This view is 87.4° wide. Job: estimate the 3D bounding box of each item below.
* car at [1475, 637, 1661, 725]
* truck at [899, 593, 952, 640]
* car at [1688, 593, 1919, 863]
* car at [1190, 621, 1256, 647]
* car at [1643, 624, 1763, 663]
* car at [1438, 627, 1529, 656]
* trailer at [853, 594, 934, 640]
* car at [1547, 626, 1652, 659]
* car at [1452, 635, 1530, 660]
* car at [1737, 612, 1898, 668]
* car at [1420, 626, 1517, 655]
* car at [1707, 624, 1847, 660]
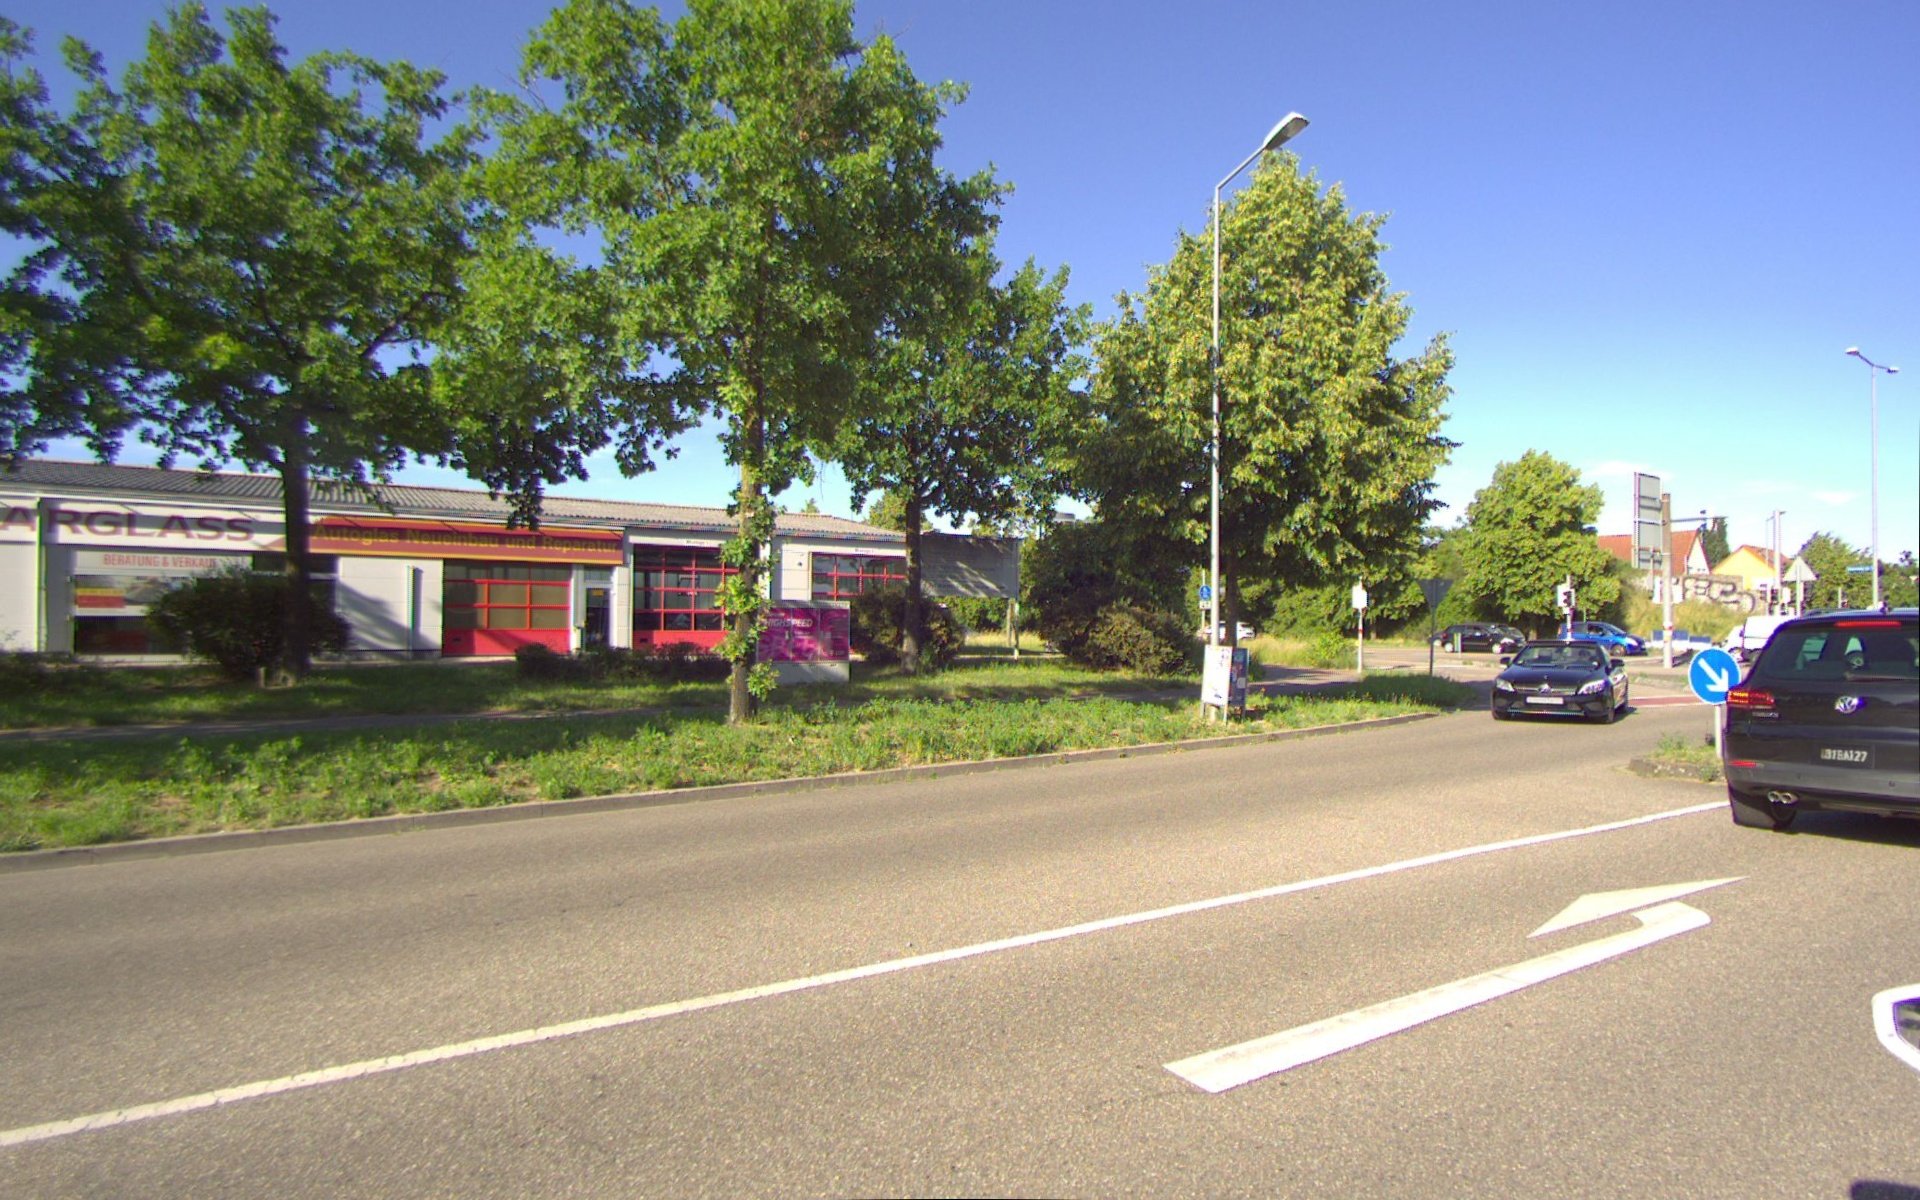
[{"bbox_3d":[11.316,1.425,18.551,1.973,1.421,4.561,-5,-5,43],"label":"car"},{"bbox_3d":[-2.856,1.362,81.688,2.383,3.744,4.778,1,-1,-30],"label":"truck"},{"bbox_3d":[7.562,0.882,7.659,3.956,1.695,1.813,2,-3,-30],"label":"car"},{"bbox_3d":[18.766,2.402,71.839,1.699,1.705,4.345,2,-1,-41],"label":"car"},{"bbox_3d":[30.274,1.761,41.009,1.578,1.505,3.646,2,-2,-35],"label":"car"},{"bbox_3d":[26.635,2.090,51.186,1.494,1.330,3.817,2,-1,-37],"label":"car"},{"bbox_3d":[-5.916,1.463,86.979,2.367,3.745,11.424,1,-1,-29],"label":"trailer"},{"bbox_3d":[29.918,1.972,47.042,1.667,1.403,3.817,2,-1,-37],"label":"car"},{"bbox_3d":[31.800,2.831,60.202,1.665,1.358,3.822,2,-1,-34],"label":"car"},{"bbox_3d":[30.014,1.377,35.267,1.443,1.824,4.085,2,-2,-34],"label":"car"},{"bbox_3d":[29.380,2.325,58.141,1.980,1.560,4.672,1,-1,-35],"label":"car"},{"bbox_3d":[37.727,1.910,46.497,1.979,1.560,4.675,1,-1,-33],"label":"car"}]
